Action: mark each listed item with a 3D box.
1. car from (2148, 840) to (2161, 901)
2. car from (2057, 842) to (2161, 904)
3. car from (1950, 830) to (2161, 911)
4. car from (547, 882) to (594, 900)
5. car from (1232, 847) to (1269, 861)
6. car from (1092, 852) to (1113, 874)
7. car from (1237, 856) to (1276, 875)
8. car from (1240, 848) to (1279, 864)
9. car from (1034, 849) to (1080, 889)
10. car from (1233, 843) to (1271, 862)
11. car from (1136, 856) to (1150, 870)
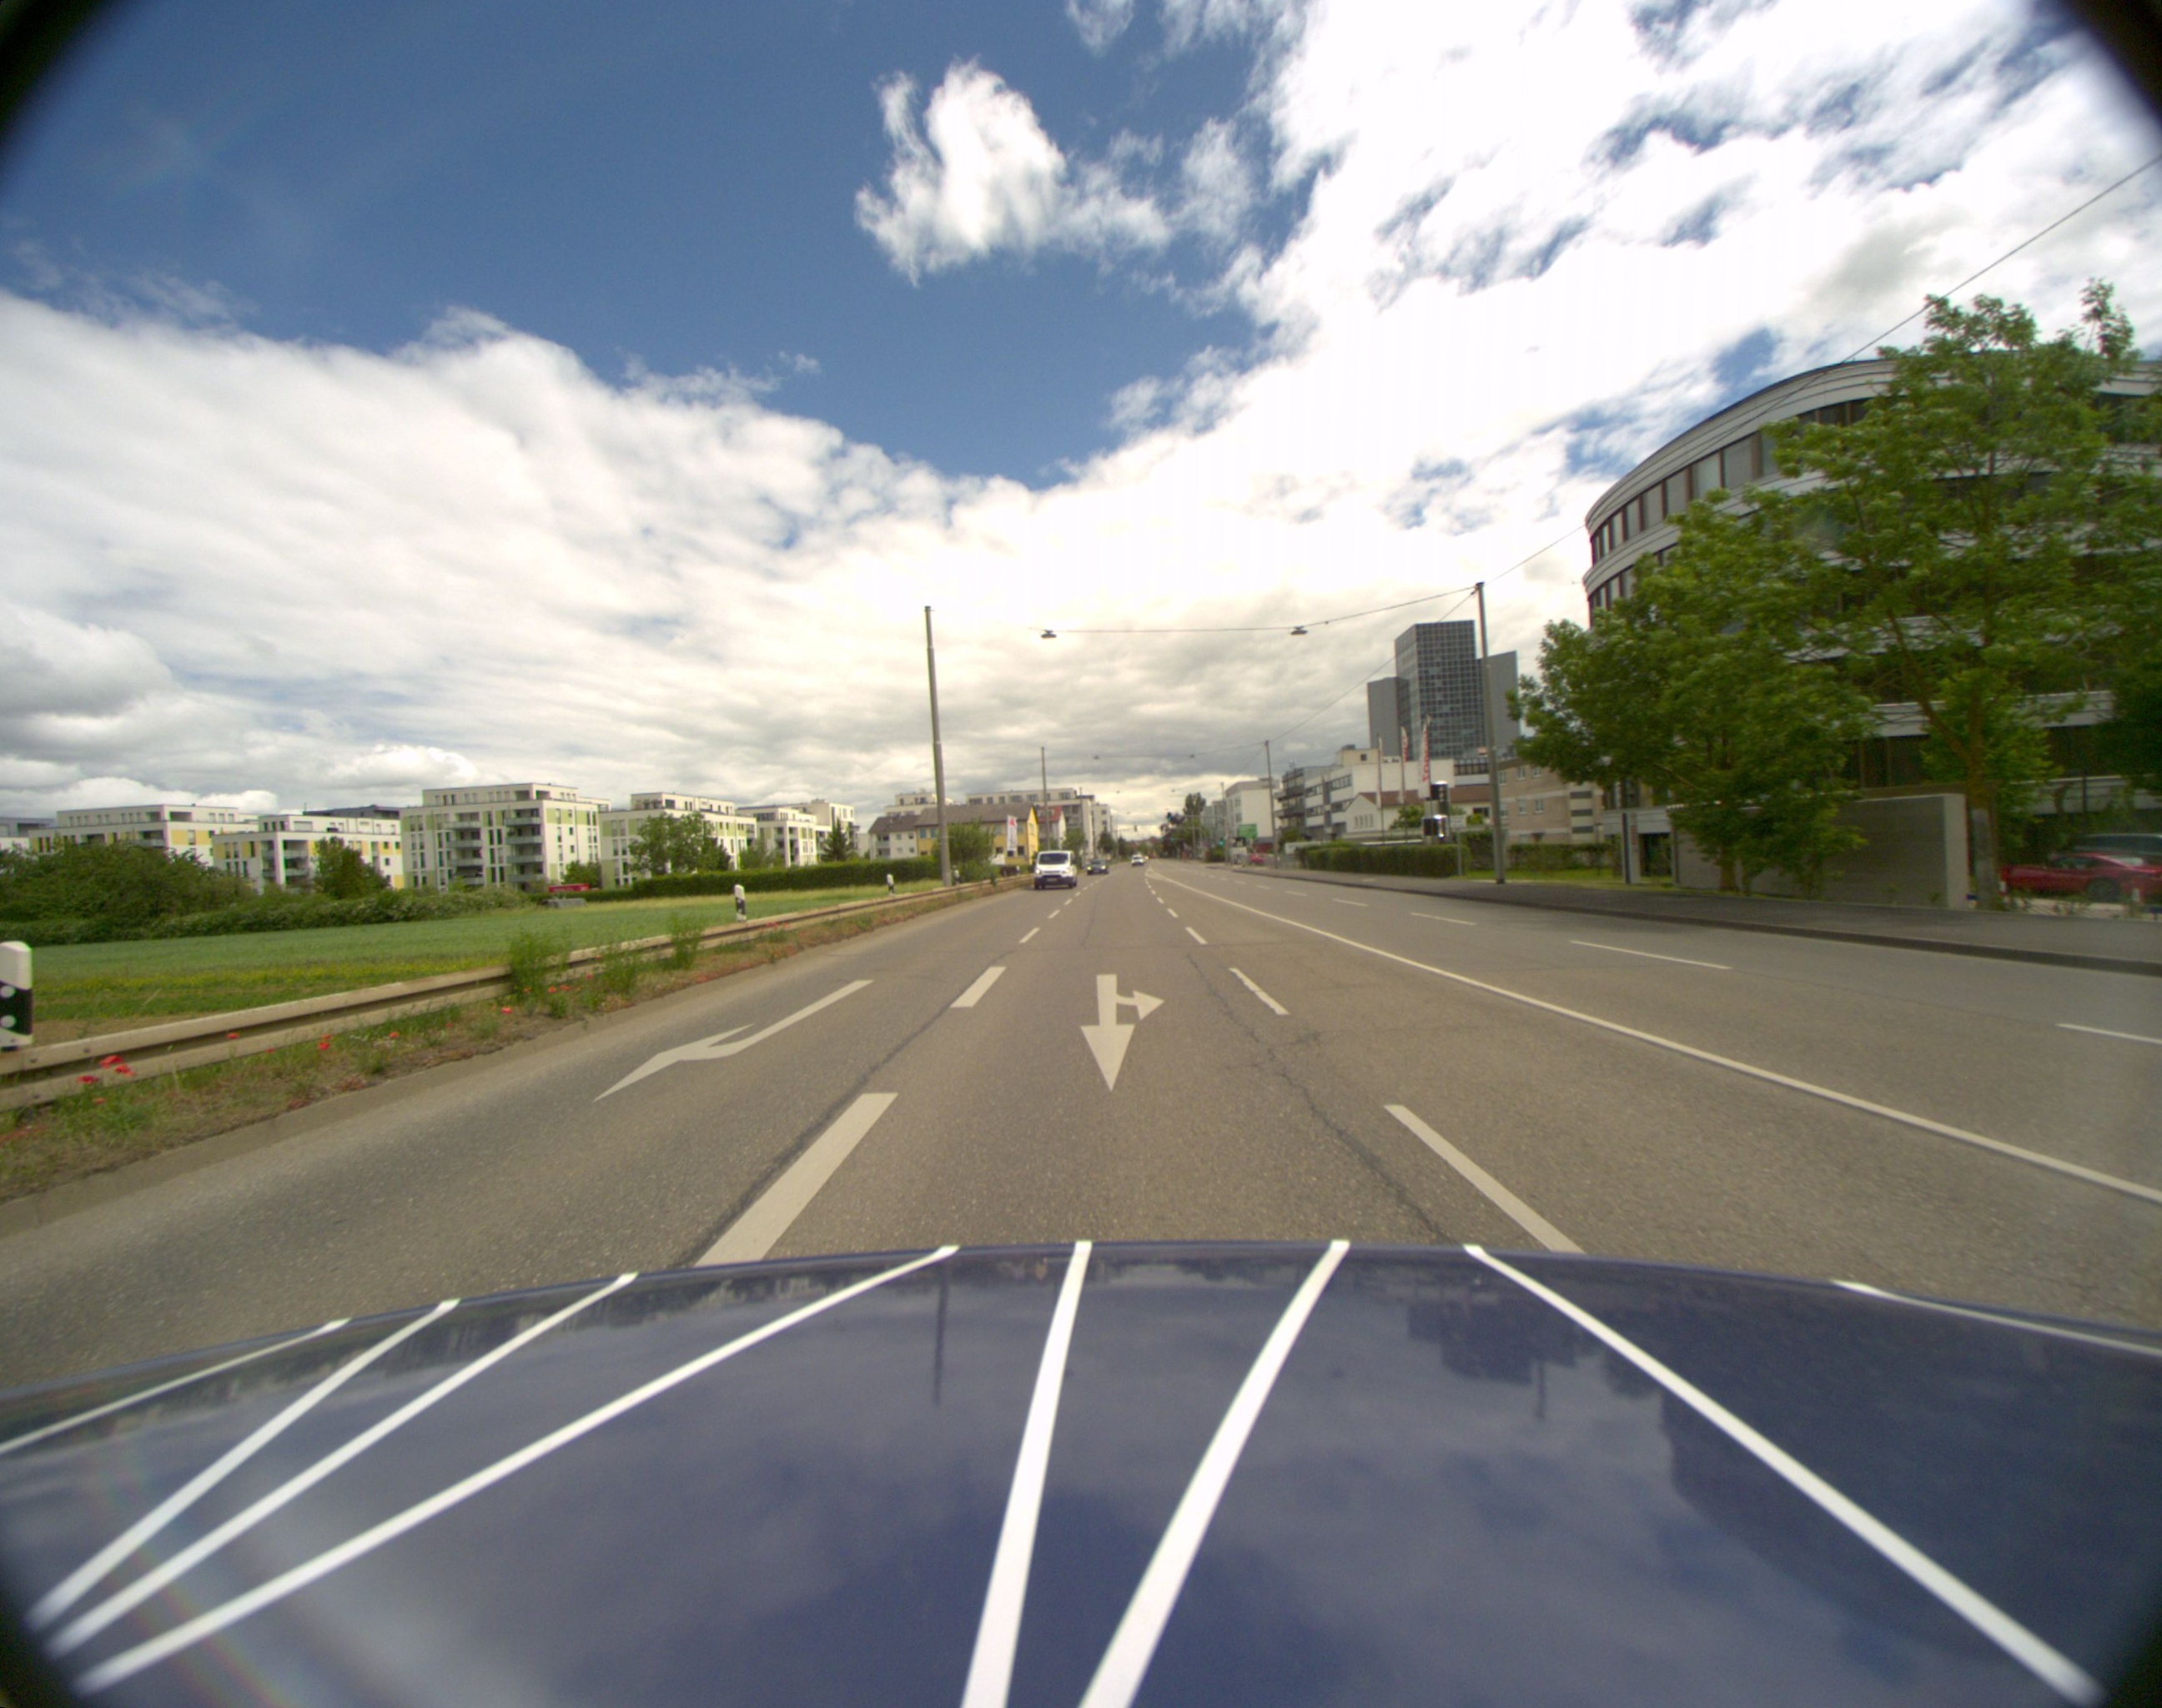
[{"bbox_3d":[31.361,0.444,19.676,1.824,1.713,3.999,-3,1,1],"label":"car"},{"bbox_3d":[28.826,0.486,19.655,1.998,1.608,4.000,0,1,1],"label":"car"},{"bbox_3d":[26.474,0.333,20.254,1.868,1.784,3.996,-2,3,-4],"label":"car"},{"bbox_3d":[-64.415,4.687,95.837,4.437,2.002,2.000,-3,1,-1],"label":"car"},{"bbox_3d":[20.348,-0.030,91.305,3.996,1.324,1.824,-5,-1,2],"label":"car"},{"bbox_3d":[2.042,0.862,72.694,1.807,1.914,4.000,-3,1,1],"label":"car"},{"bbox_3d":[19.914,1.281,86.470,3.996,2.002,1.920,-3,1,2],"label":"car"},{"bbox_3d":[19.610,0.193,83.479,3.801,1.601,1.836,-2,0,1],"label":"car"},{"bbox_3d":[-1.186,0.731,40.736,1.998,1.907,5.882,-3,1,2],"label":"car"},{"bbox_3d":[19.973,-0.188,89.061,3.996,2.002,1.904,-3,1,2],"label":"car"},{"bbox_3d":[9.618,1.378,118.336,1.800,2.002,4.000,-3,1,1],"label":"car"}]
